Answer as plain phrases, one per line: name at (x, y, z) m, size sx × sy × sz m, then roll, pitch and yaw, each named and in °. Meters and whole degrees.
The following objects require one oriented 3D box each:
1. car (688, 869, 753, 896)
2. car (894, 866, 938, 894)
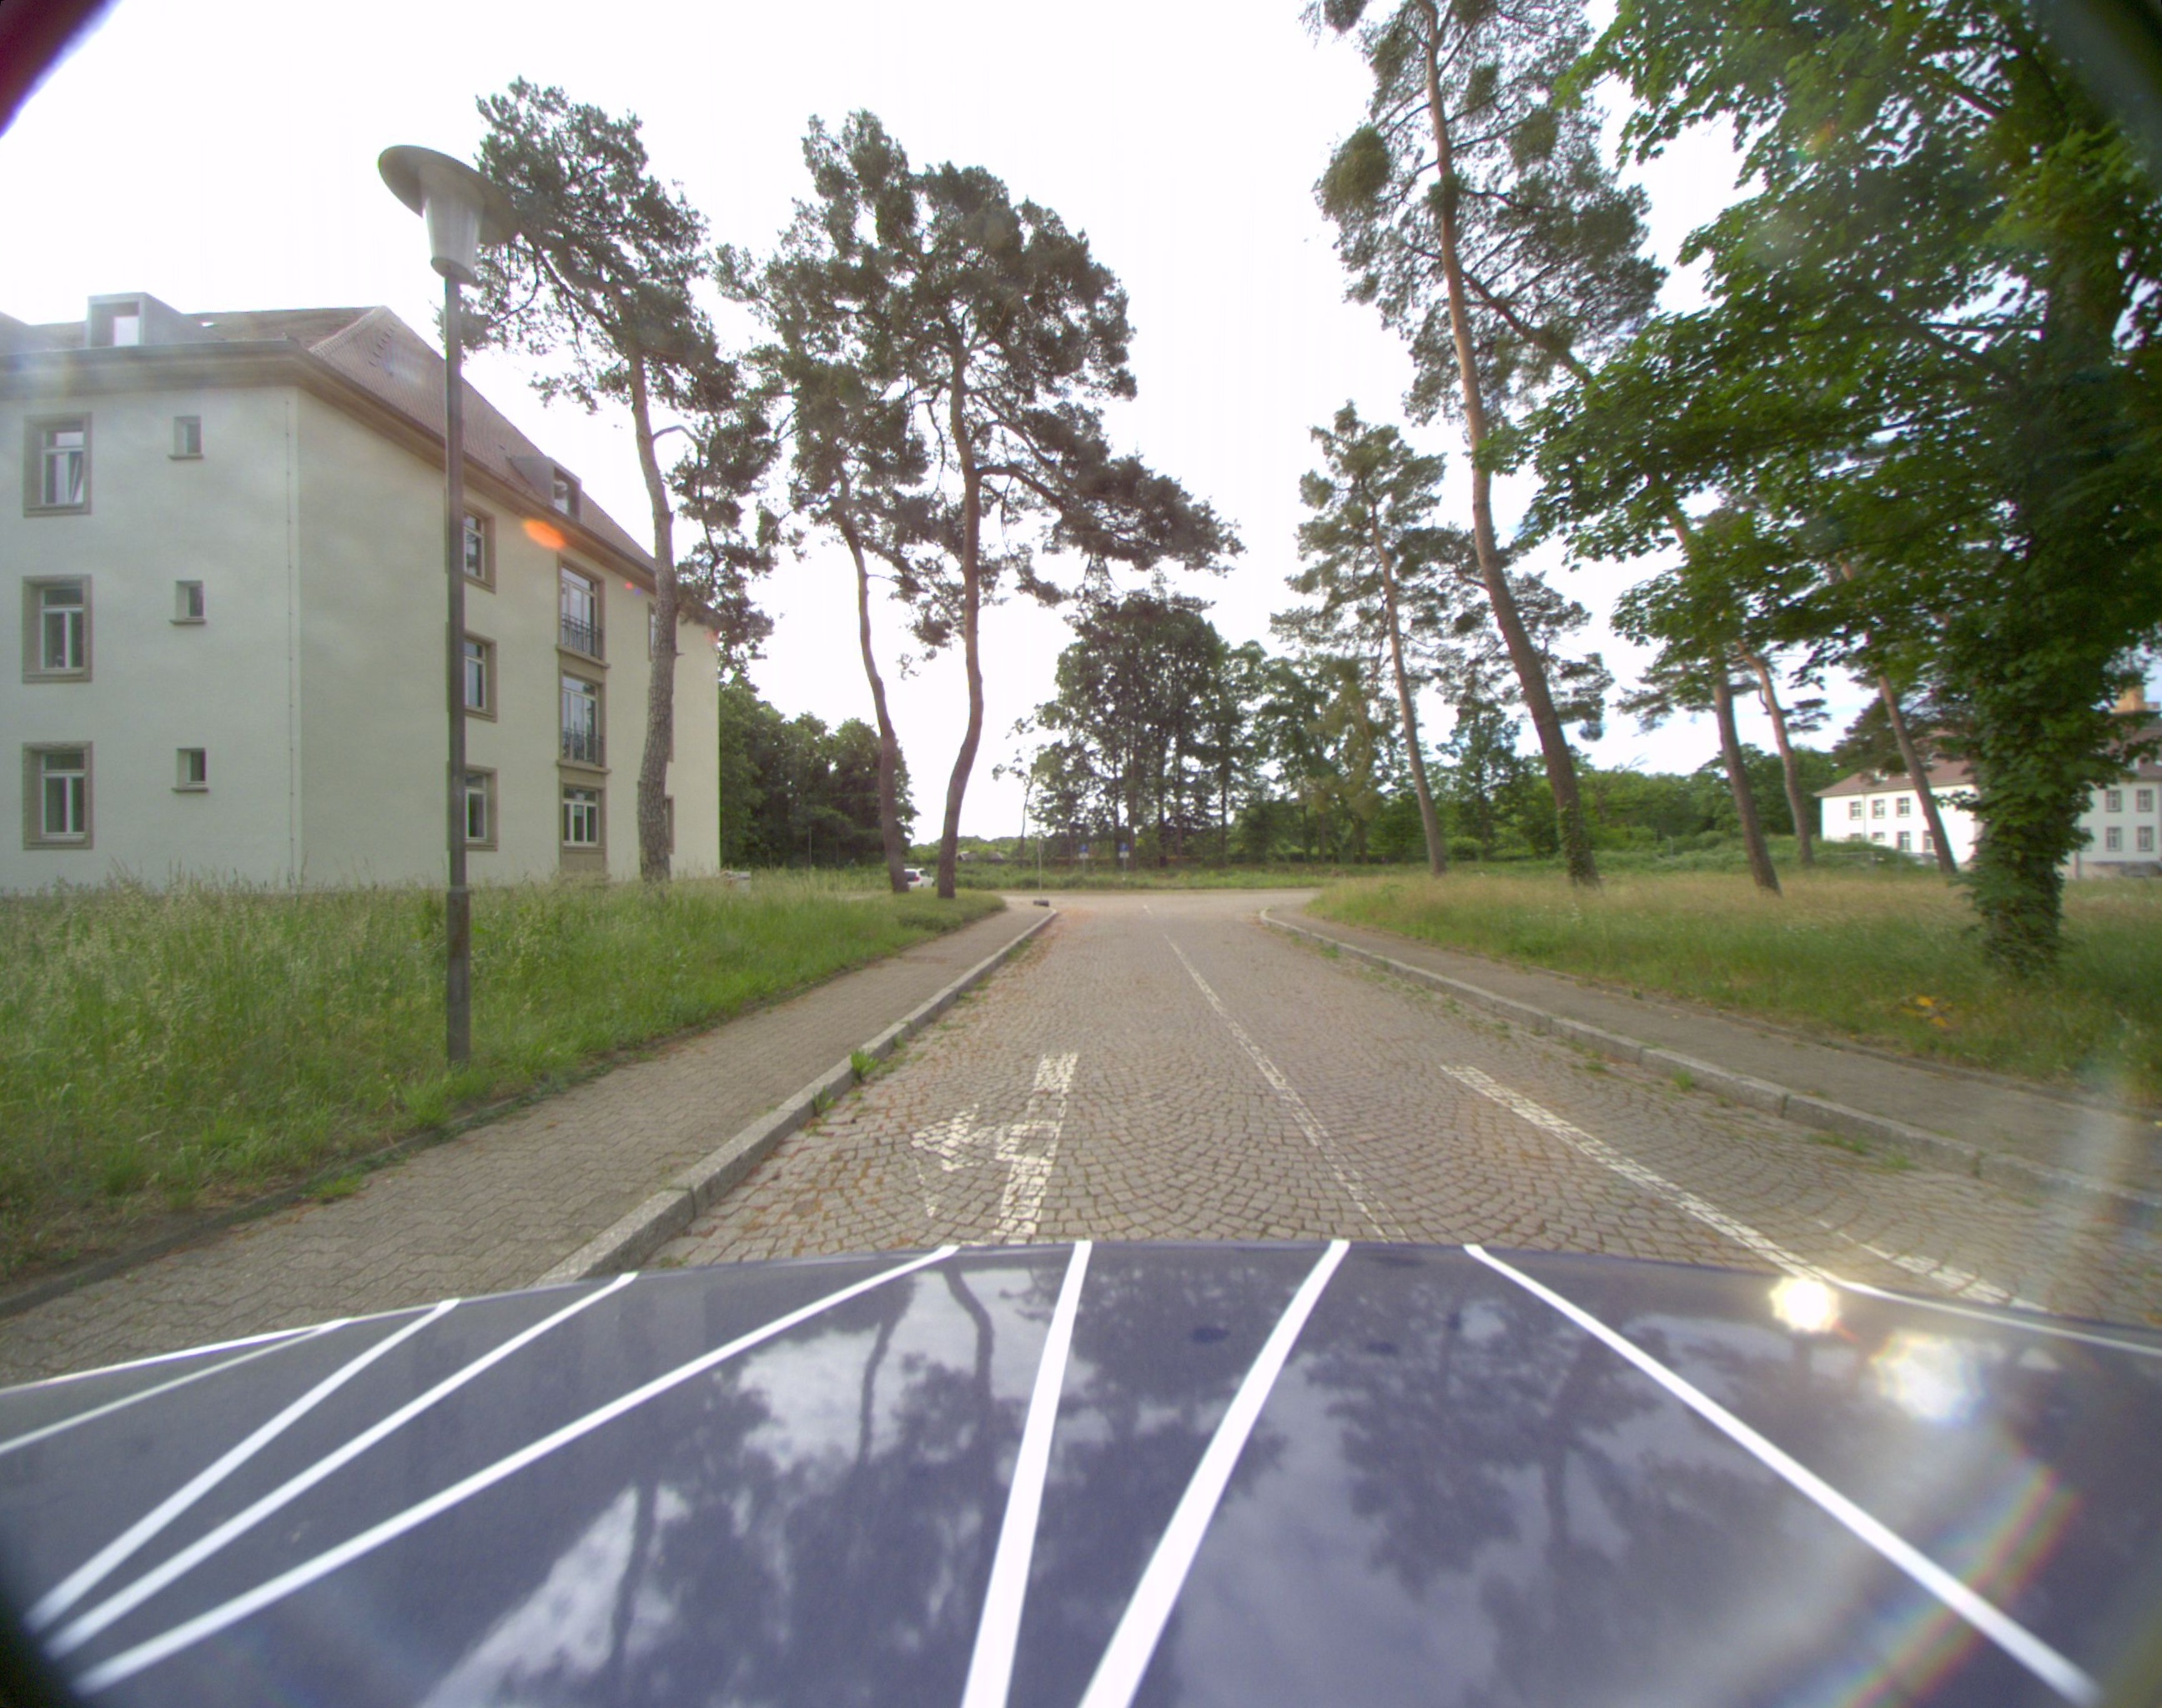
car at (-20.721, 1.619, 43.851) m, size 1.640 × 1.321 × 4.000 m, roll -1°, pitch 1°, yaw 3°
car at (-9.417, 1.468, 43.630) m, size 1.640 × 1.426 × 3.278 m, roll -1°, pitch 2°, yaw 3°
